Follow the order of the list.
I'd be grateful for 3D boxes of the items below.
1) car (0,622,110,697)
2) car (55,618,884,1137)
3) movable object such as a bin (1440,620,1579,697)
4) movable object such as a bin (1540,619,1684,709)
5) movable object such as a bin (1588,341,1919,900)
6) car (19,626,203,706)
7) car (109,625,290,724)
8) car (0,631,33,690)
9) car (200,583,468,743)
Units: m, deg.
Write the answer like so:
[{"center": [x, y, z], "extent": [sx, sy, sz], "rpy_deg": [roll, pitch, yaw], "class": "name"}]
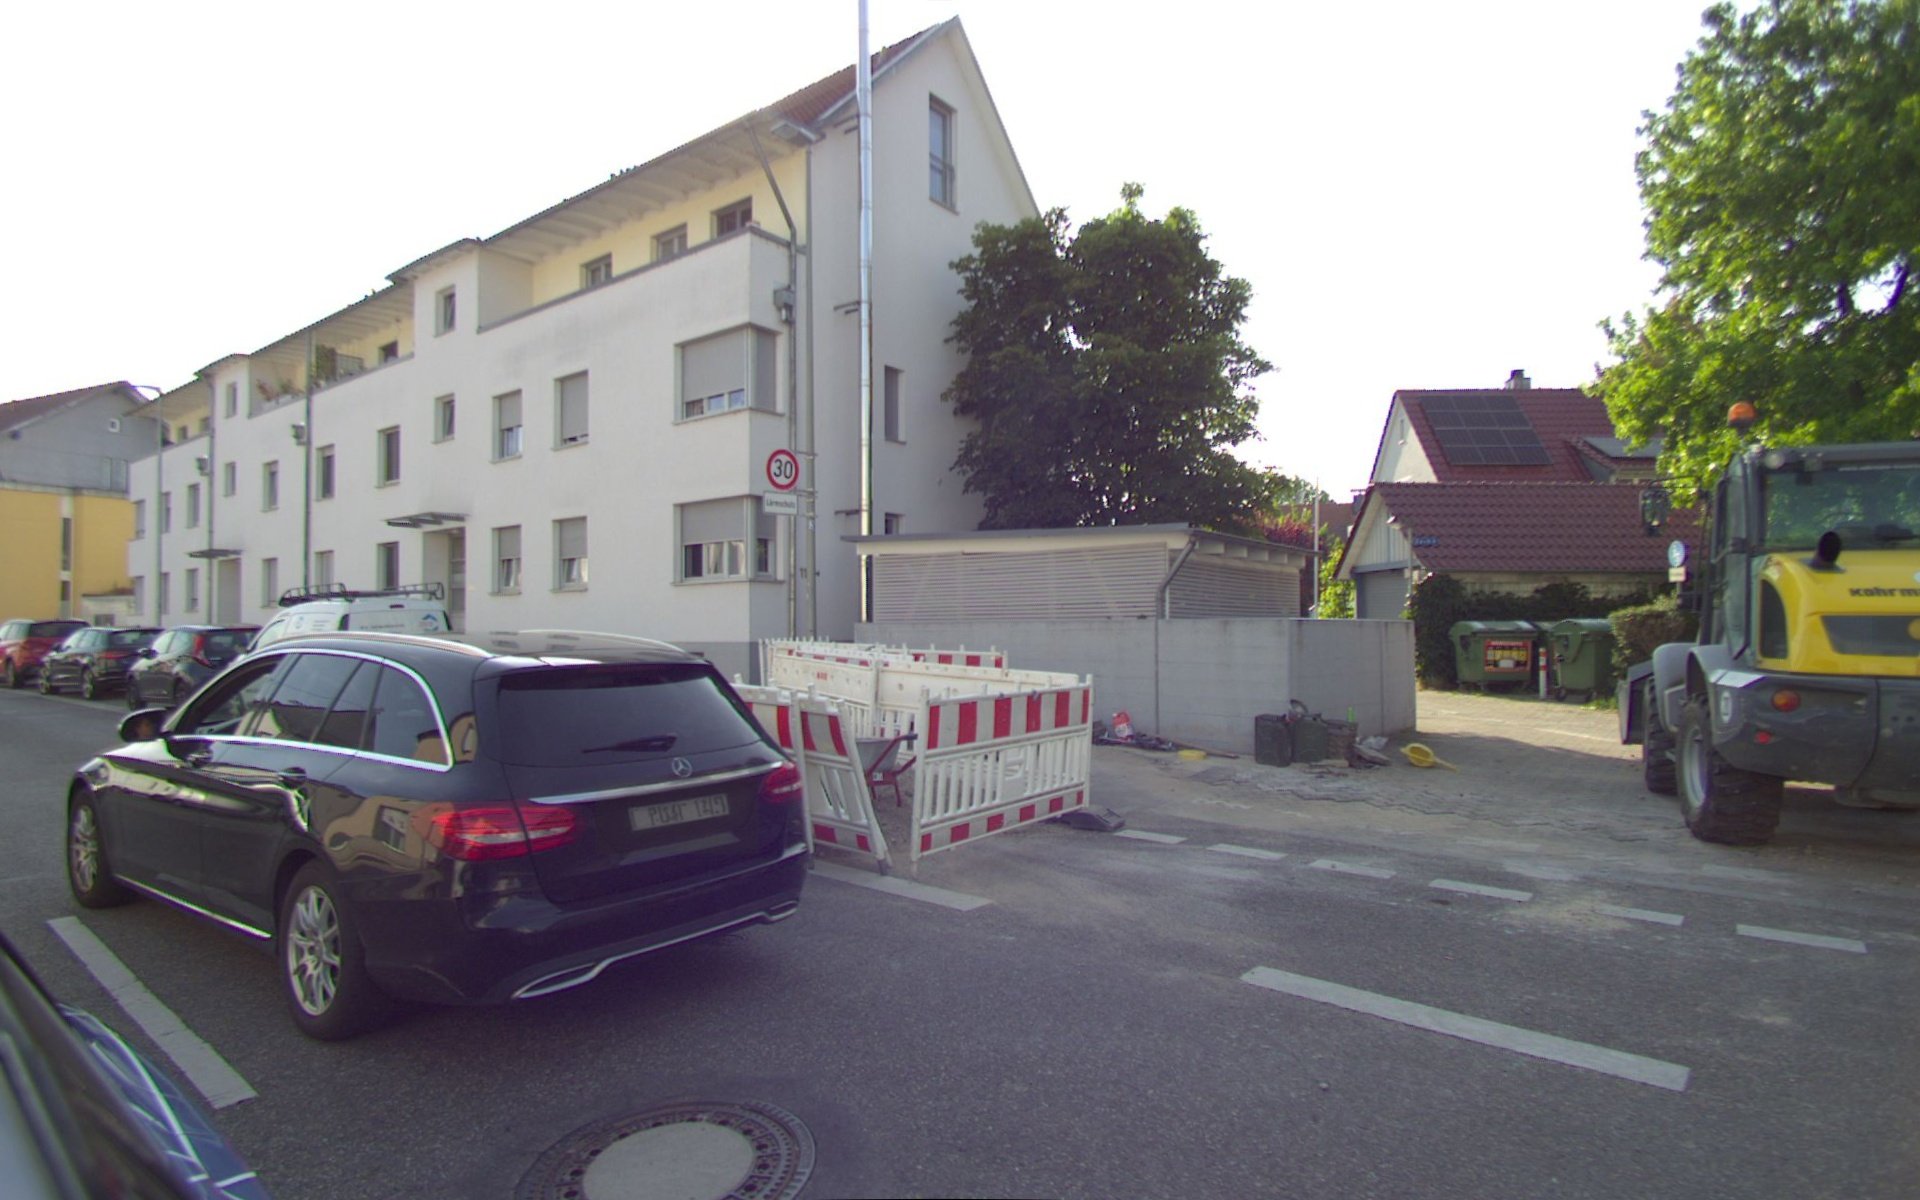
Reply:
[{"center": [-22.304, 1.384, 24.331], "extent": [4.251, 1.634, 1.713], "rpy_deg": [-2, -1, 33], "class": "car"}, {"center": [-2.534, 0.838, 4.808], "extent": [4.201, 1.431, 1.813], "rpy_deg": [-2, -3, 37], "class": "car"}, {"center": [10.917, 1.139, 20.190], "extent": [1.970, 1.430, 1.417], "rpy_deg": [0, 0, -3], "class": "movable object such as a bin"}, {"center": [11.264, 1.074, 17.552], "extent": [1.601, 1.458, 1.322], "rpy_deg": [0, 0, -3], "class": "movable object such as a bin"}, {"center": [6.426, 0.123, 7.660], "extent": [2.100, 2.923, 5.468], "rpy_deg": [-2, -2, 25], "class": "movable object such as a bin"}, {"center": [-17.625, 1.327, 20.961], "extent": [4.249, 1.489, 1.714], "rpy_deg": [-2, -2, 32], "class": "car"}, {"center": [-12.845, 1.197, 17.045], "extent": [3.506, 1.476, 1.479], "rpy_deg": [-2, -1, 36], "class": "car"}, {"center": [-26.684, 1.614, 27.036], "extent": [4.488, 1.489, 1.714], "rpy_deg": [-2, -1, 32], "class": "car"}, {"center": [-9.047, 0.853, 14.490], "extent": [4.429, 1.975, 1.712], "rpy_deg": [-2, -2, 36], "class": "car"}]
